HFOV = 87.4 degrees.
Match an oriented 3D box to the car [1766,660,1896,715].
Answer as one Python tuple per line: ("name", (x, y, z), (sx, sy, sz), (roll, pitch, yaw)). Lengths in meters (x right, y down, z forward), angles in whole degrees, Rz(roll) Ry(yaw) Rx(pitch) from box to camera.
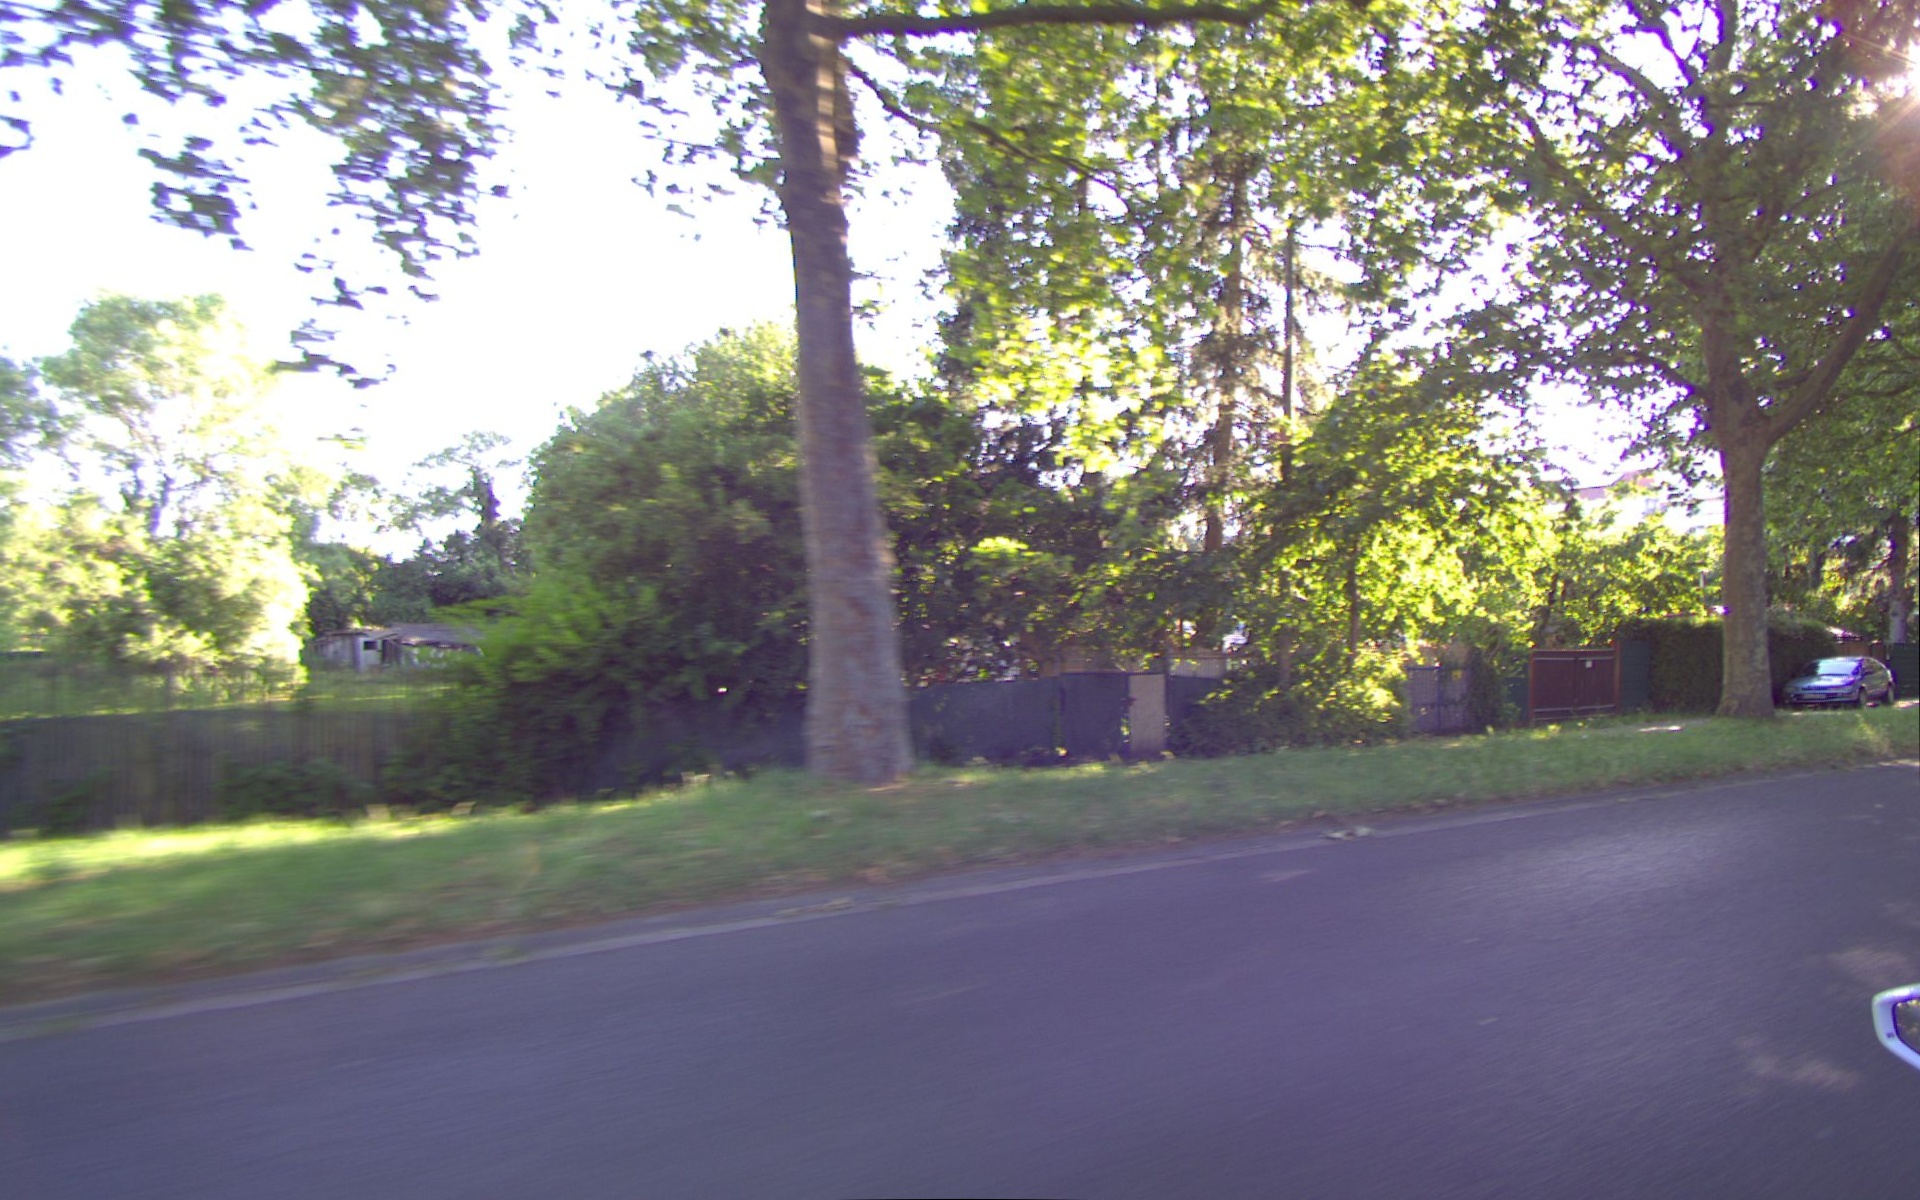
("car", (24.814, 2.443, 28.582), (3.956, 1.321, 1.742), (1, -2, -33))
